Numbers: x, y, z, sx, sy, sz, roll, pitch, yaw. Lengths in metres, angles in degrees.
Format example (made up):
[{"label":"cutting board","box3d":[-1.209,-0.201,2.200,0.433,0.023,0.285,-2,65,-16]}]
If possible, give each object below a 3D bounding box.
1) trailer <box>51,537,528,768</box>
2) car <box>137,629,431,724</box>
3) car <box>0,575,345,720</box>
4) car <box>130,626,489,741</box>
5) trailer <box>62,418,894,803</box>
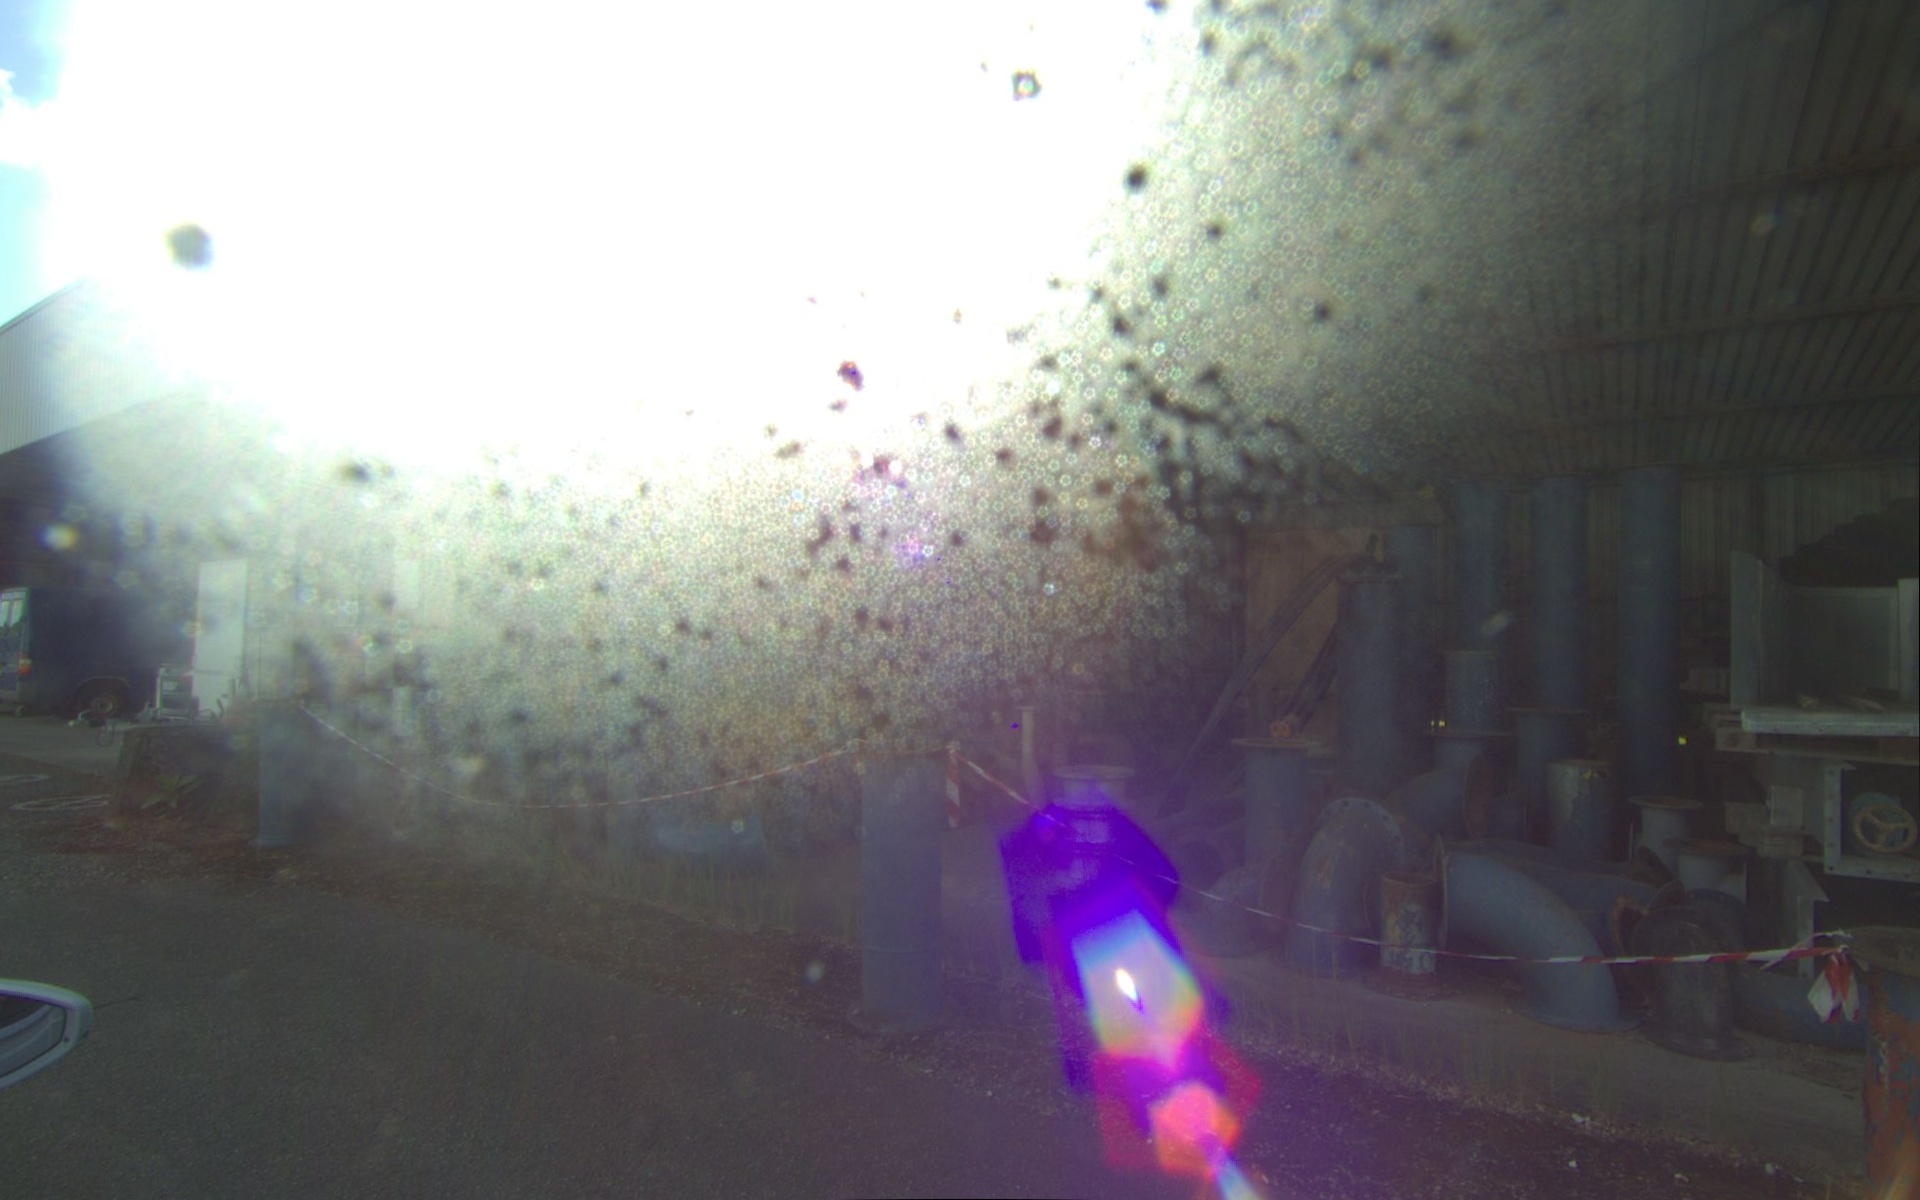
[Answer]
[{"label":"trailer","box3d":[-8.361,0.670,12.962,1.804,2.421,4.796,-1,-3,38]},{"label":"car","box3d":[-11.906,1.303,17.911,1.761,1.491,3.985,-1,-3,29]},{"label":"car","box3d":[-14.756,0.903,18.904,1.973,2.354,4.969,-1,-3,34]},{"label":"car","box3d":[-9.808,1.208,15.491,1.751,1.514,4.324,-1,-3,31]},{"label":"trailer","box3d":[-5.043,0.317,13.428,2.814,3.256,10.018,-1,-3,34]}]
